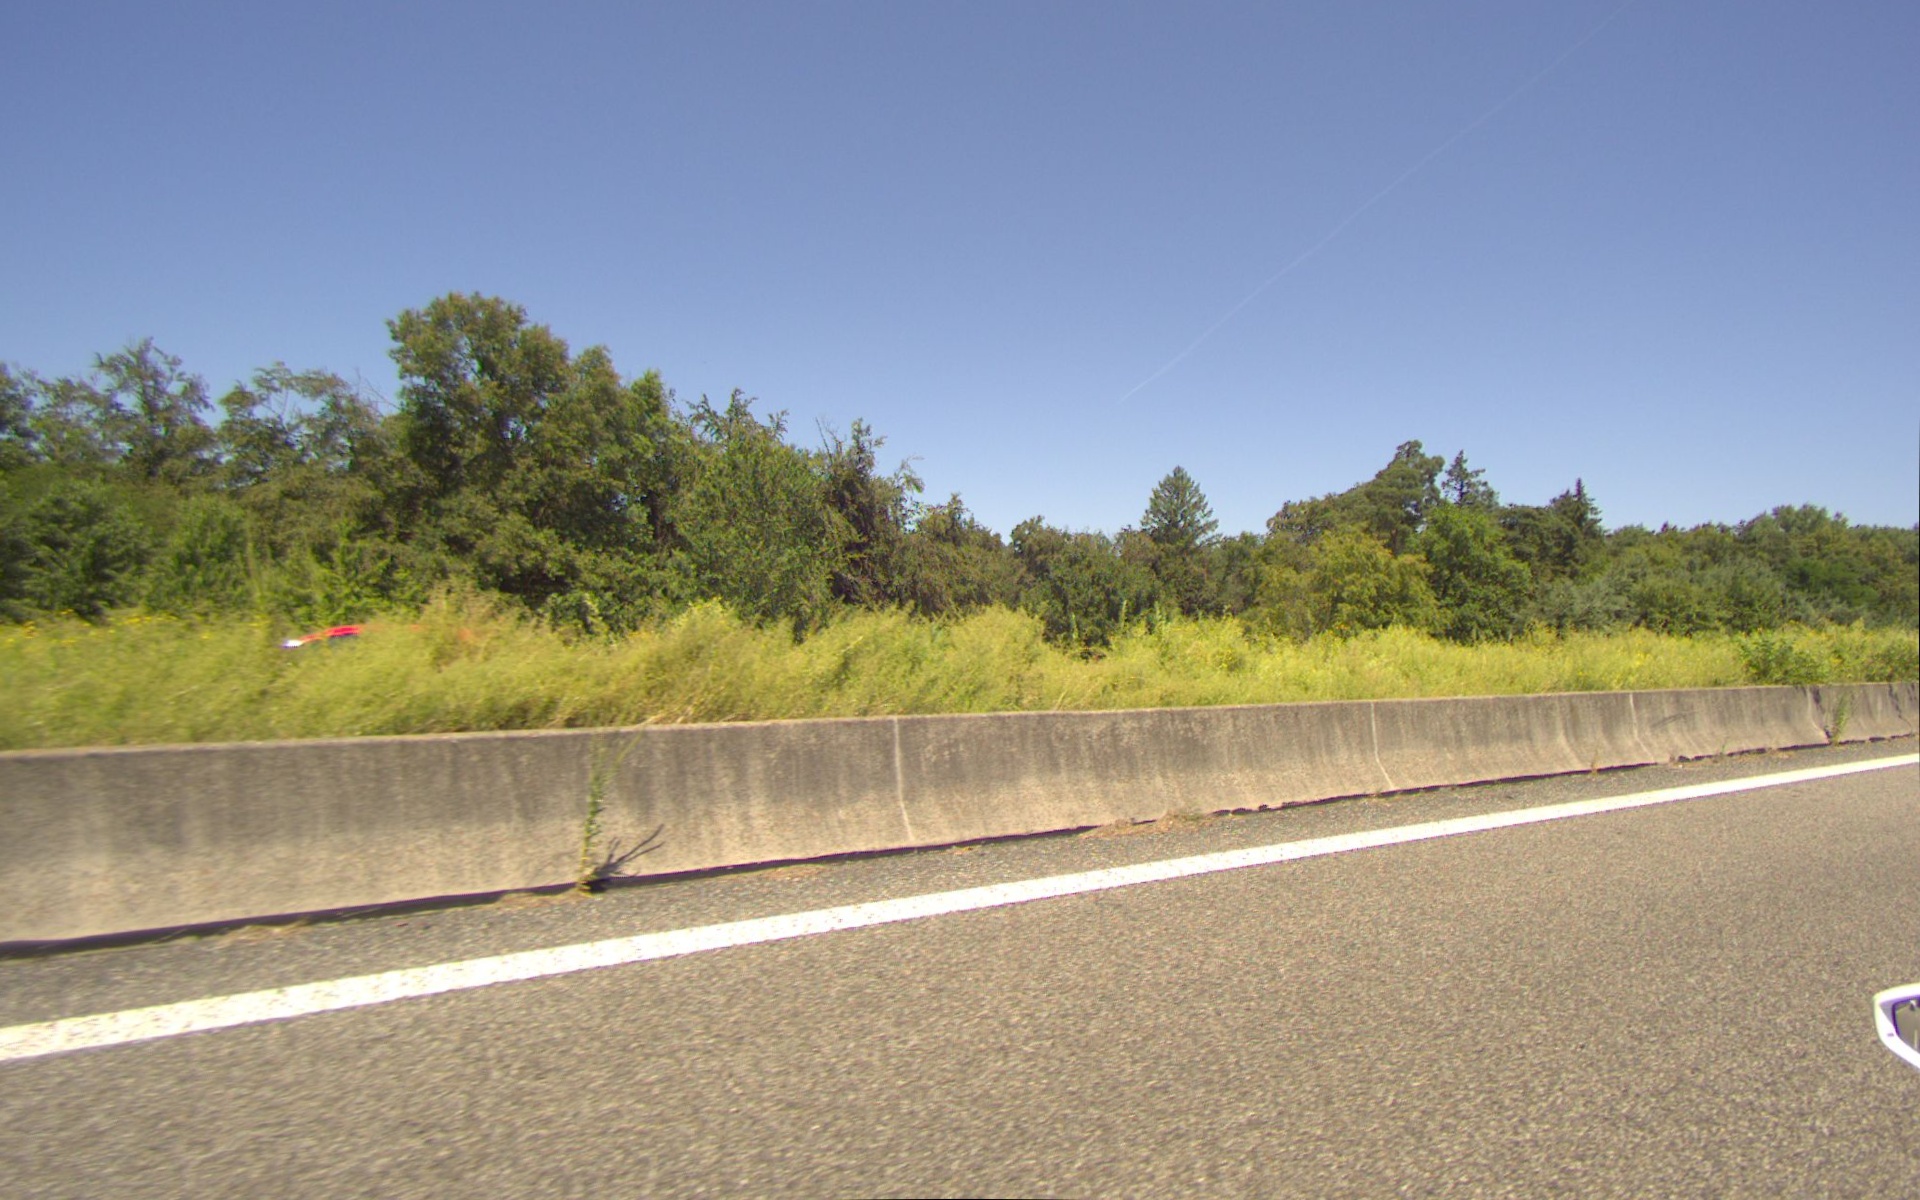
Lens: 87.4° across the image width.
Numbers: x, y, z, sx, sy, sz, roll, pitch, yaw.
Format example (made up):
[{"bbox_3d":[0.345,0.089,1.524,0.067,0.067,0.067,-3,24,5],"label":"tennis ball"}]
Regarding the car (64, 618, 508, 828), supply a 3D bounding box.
[{"bbox_3d":[-7.549,1.269,11.724,3.953,2.040,1.984,2,-1,-30],"label":"car"}]
